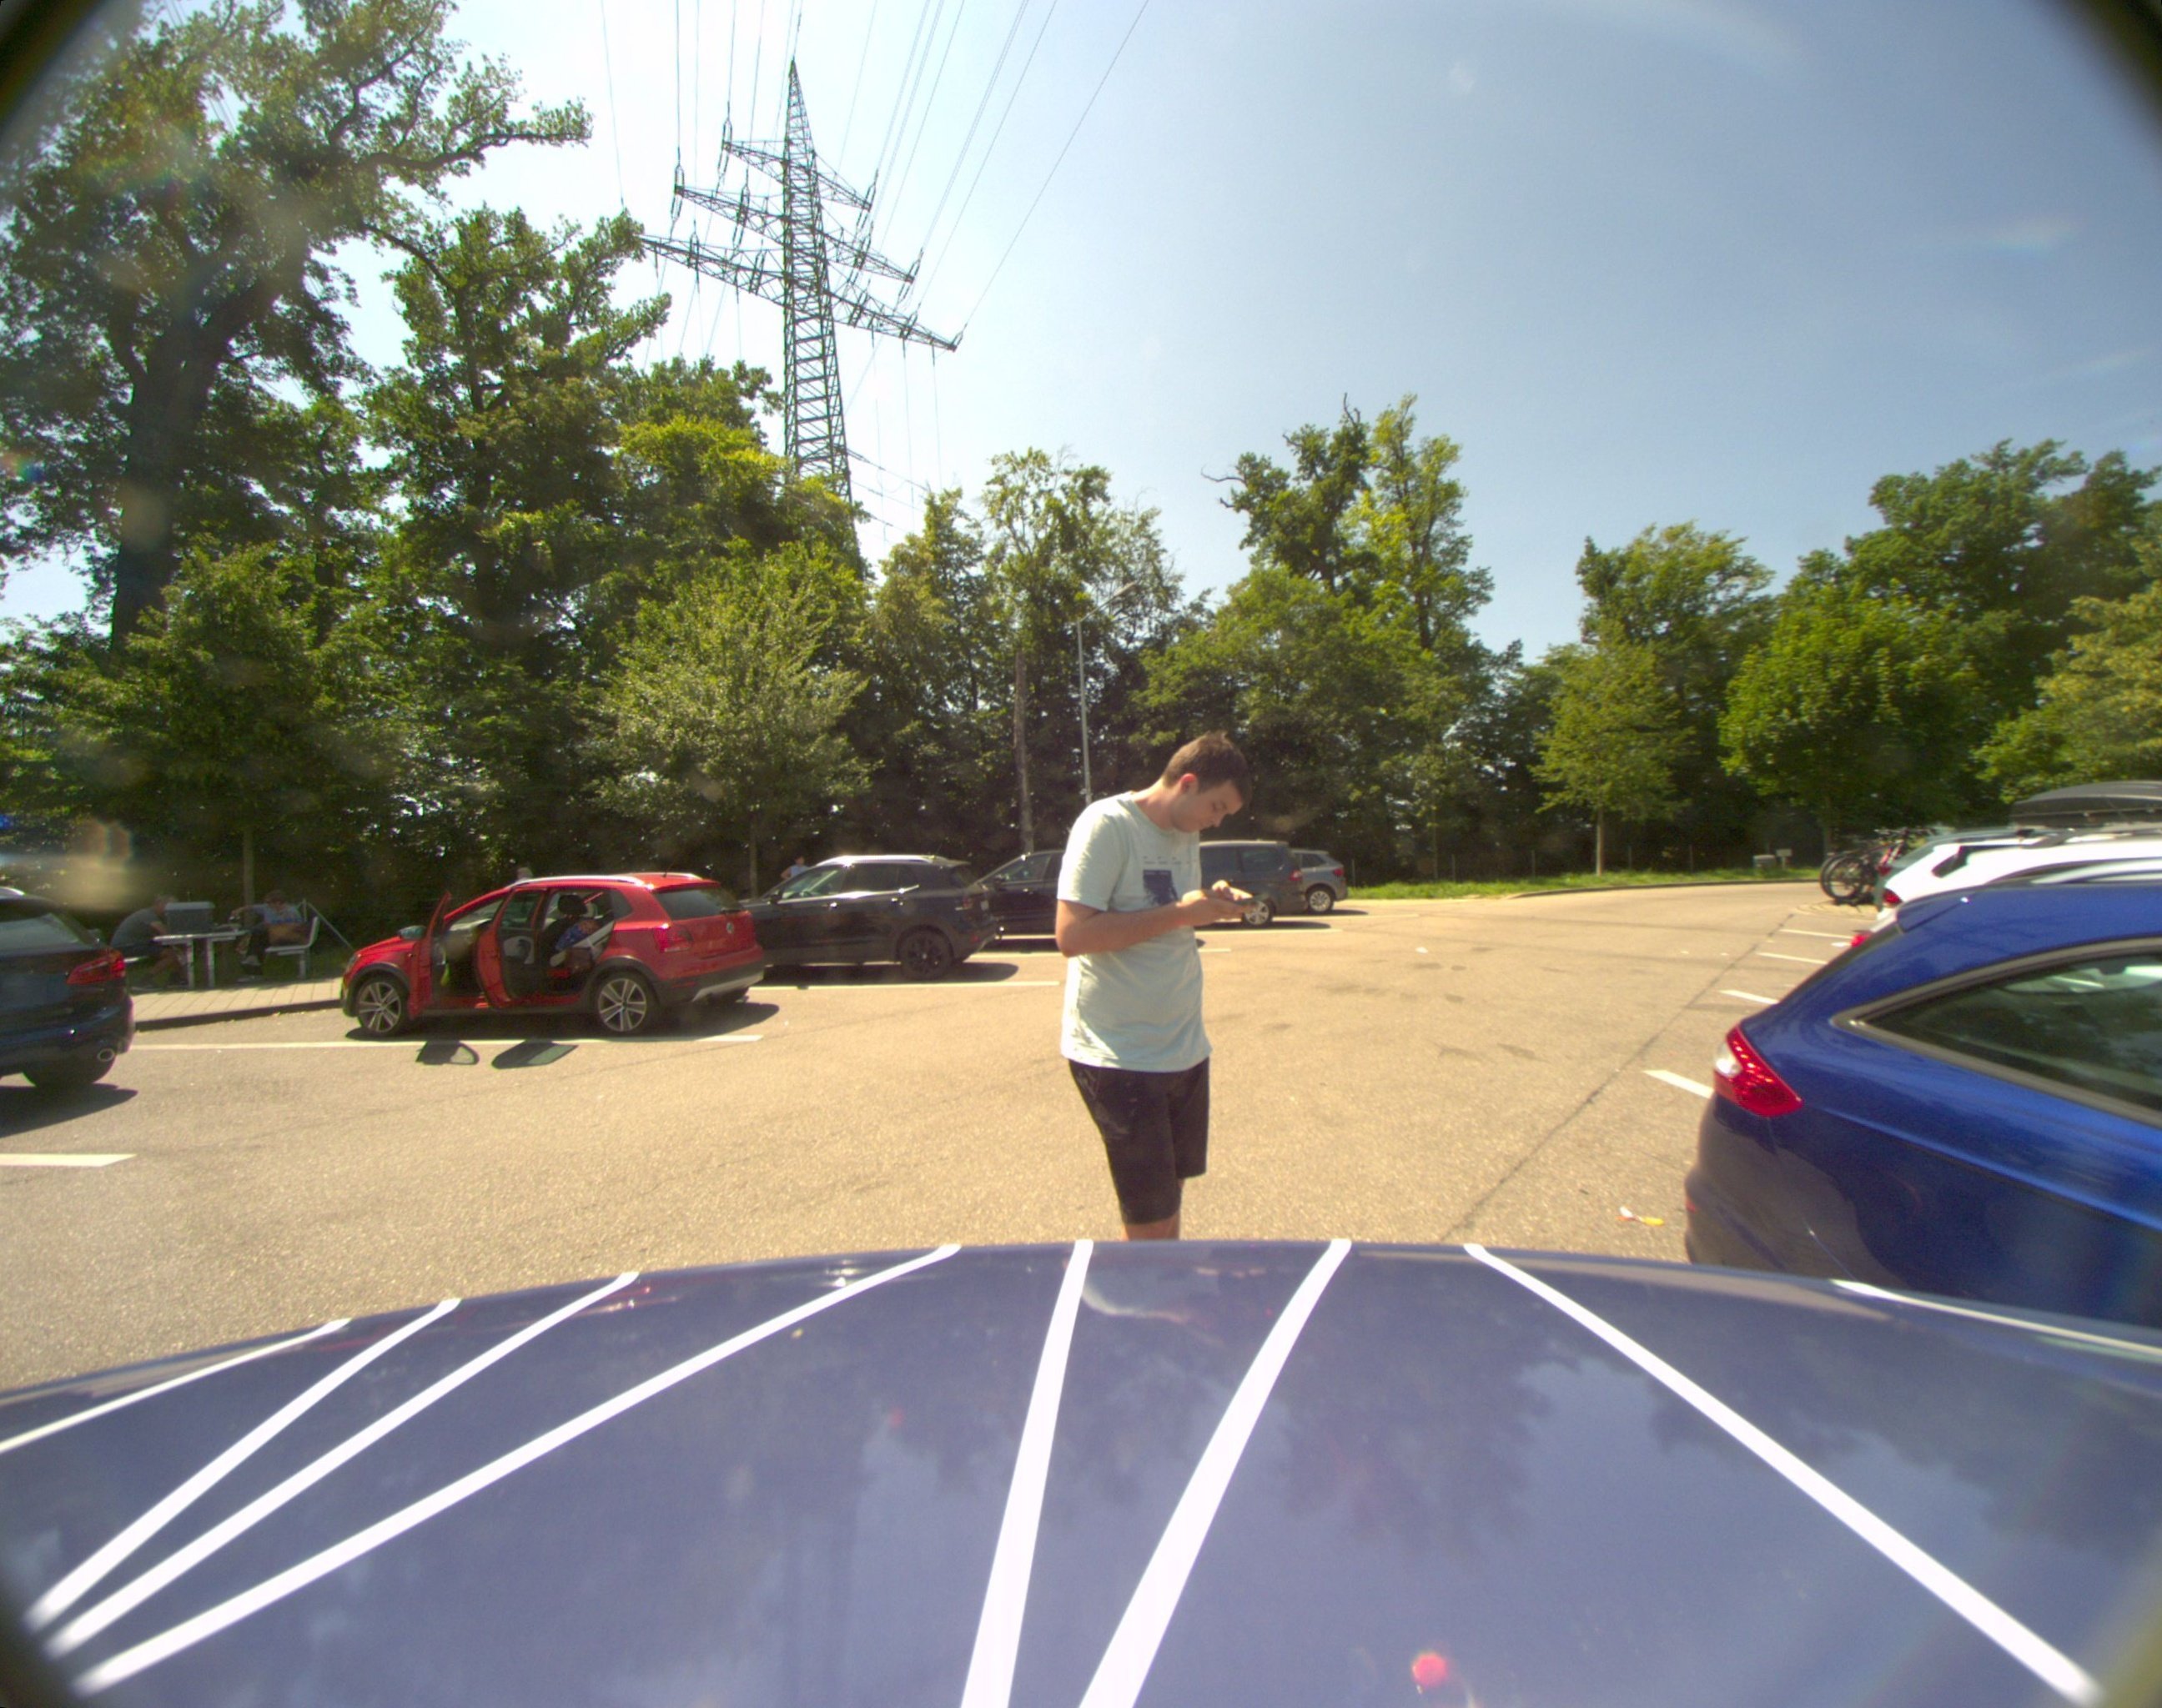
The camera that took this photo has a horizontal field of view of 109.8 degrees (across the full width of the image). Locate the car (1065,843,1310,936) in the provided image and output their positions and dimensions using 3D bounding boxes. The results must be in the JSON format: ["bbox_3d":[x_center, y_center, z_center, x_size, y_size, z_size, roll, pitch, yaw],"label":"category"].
[{"bbox_3d":[2.138,0.705,15.482,4.619,1.701,1.740,-2,0,9],"label":"car"}]

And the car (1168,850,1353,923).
[{"bbox_3d":[4.142,0.735,18.021,3.996,1.495,1.687,-2,1,3],"label":"car"}]

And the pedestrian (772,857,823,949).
[{"bbox_3d":[-5.849,0.986,15.689,0.519,1.821,0.767,-1,2,44],"label":"pedestrian"}]

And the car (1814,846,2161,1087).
[{"bbox_3d":[7.475,0.668,4.524,1.776,1.418,4.495,-3,-1,-1],"label":"car"}]

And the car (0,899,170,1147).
[{"bbox_3d":[-8.885,1.160,5.002,3.934,1.534,1.812,-2,0,7],"label":"car"}]

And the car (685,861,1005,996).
[{"bbox_3d":[-3.033,0.944,10.324,3.732,1.578,1.739,-2,0,2],"label":"car"}]

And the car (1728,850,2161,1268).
[{"bbox_3d":[4.873,0.737,2.365,1.776,1.491,4.495,-3,-1,-1],"label":"car"}]

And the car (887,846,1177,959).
[{"bbox_3d":[-0.722,0.800,13.107,4.610,1.703,2.001,-2,1,9],"label":"car"}]

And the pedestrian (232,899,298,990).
[{"bbox_3d":[-11.951,1.304,11.137,0.695,1.228,0.588,-3,0,43],"label":"pedestrian"}]

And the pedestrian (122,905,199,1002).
[{"bbox_3d":[-12.632,1.338,10.448,0.695,1.228,0.588,-3,0,43],"label":"pedestrian"}]

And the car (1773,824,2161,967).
[{"bbox_3d":[12.539,0.470,10.382,1.777,1.541,4.493,-3,-1,-5],"label":"car"}]

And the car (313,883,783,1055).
[{"bbox_3d":[-5.190,1.088,7.647,3.730,1.440,1.591,-2,0,7],"label":"car"}]

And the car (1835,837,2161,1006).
[{"bbox_3d":[10.108,0.565,6.911,1.777,1.418,4.493,-3,-1,-5],"label":"car"}]

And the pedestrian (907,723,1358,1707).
[{"bbox_3d":[0.146,0.717,1.967,0.863,1.940,0.686,-3,2,-41],"label":"pedestrian"}]
